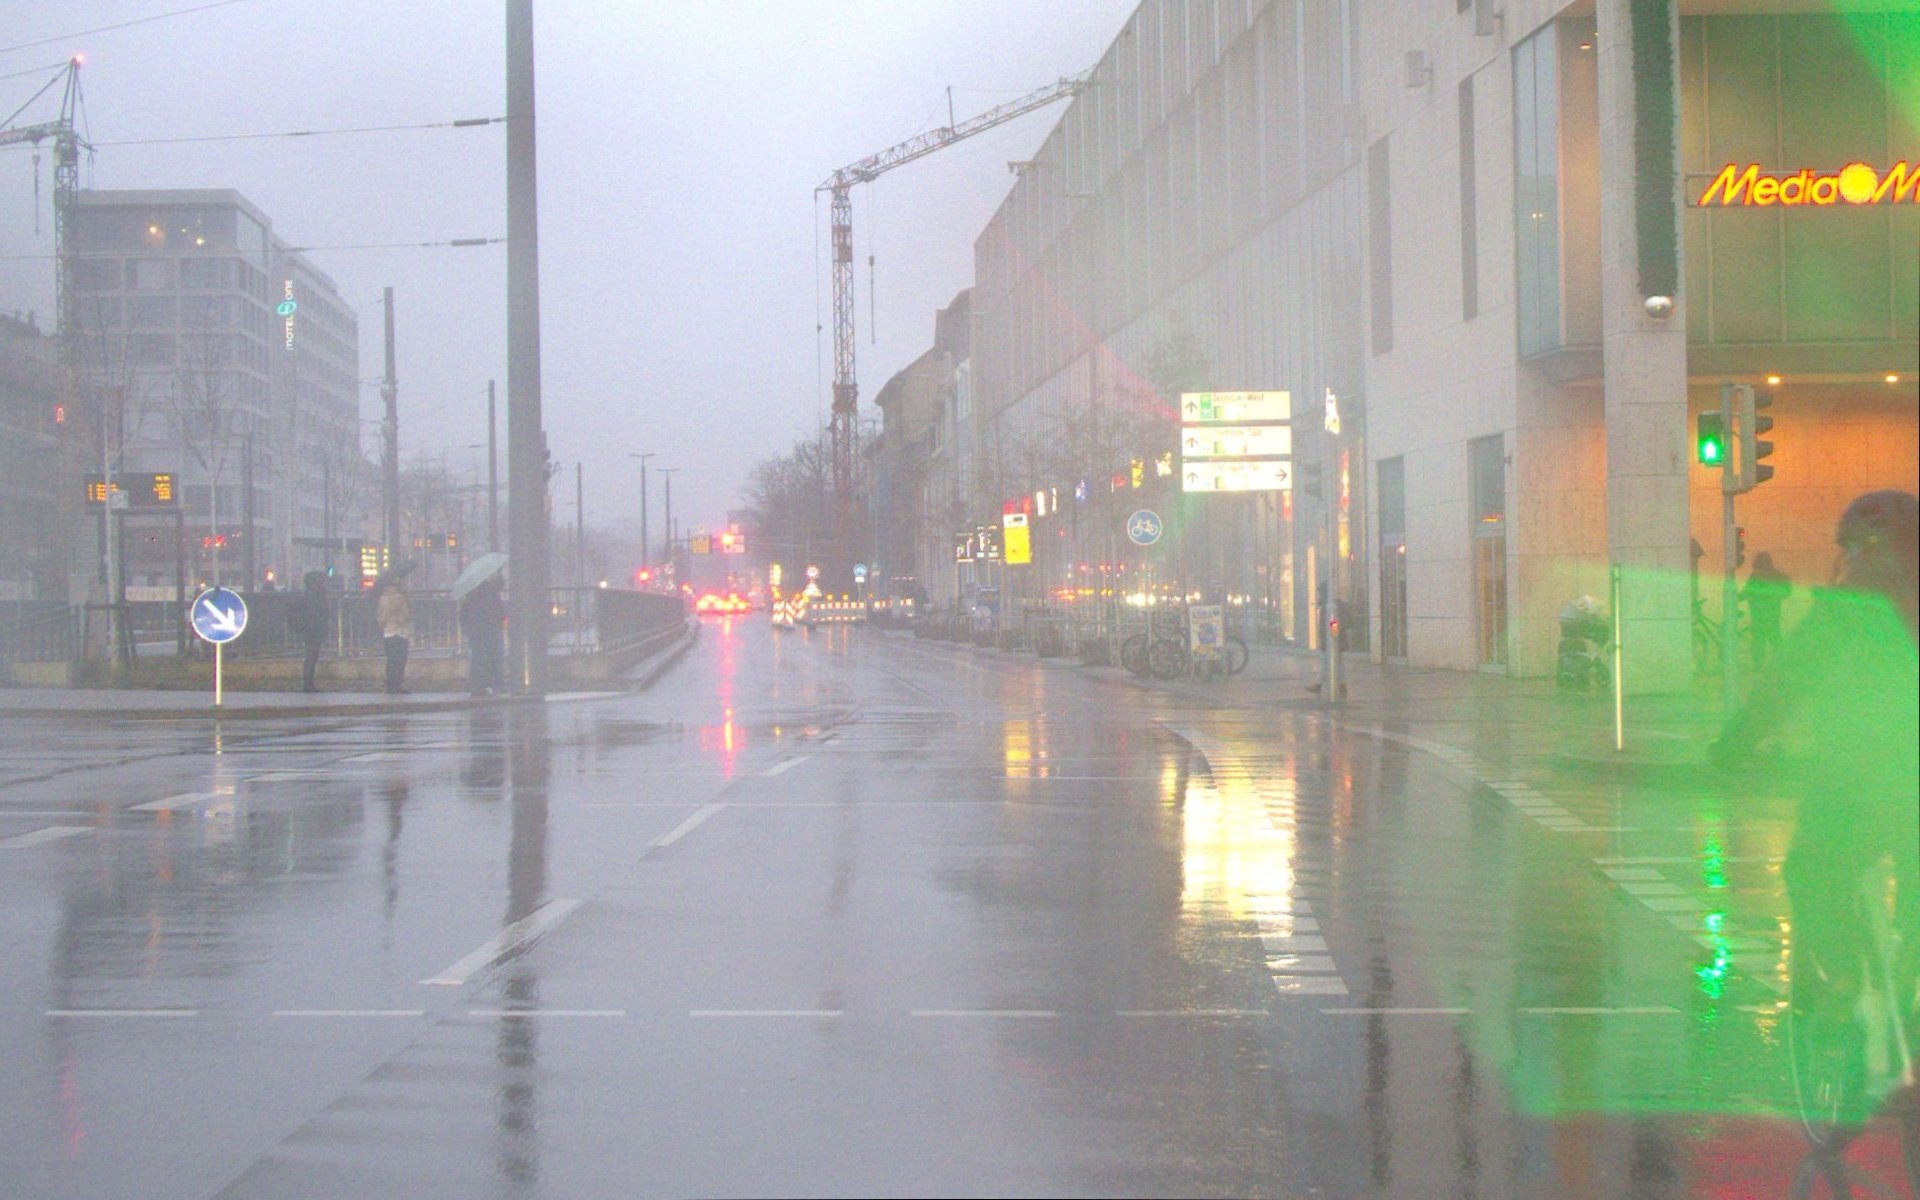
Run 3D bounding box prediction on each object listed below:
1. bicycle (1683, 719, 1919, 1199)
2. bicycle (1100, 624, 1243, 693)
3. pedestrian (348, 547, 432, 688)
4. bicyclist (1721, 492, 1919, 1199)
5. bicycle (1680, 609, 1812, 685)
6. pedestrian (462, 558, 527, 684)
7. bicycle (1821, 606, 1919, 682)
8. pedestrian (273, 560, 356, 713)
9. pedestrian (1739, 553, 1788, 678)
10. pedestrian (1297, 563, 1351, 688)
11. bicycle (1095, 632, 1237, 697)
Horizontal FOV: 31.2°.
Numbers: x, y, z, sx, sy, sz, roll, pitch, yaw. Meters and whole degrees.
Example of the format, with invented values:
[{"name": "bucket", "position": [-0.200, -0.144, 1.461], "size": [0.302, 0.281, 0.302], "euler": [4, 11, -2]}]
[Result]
[{"name": "bicycle", "position": [2.249, 0.869, 8.054], "size": [0.708, 1.090, 1.784], "euler": [0, 1, -1]}, {"name": "bicycle", "position": [3.697, 1.015, 60.184], "size": [2.442, 1.150, 0.674], "euler": [-1, 0, -1]}, {"name": "pedestrian", "position": [-7.458, 0.233, 44.981], "size": [0.821, 1.825, 0.786], "euler": [1, 0, -31]}, {"name": "bicyclist", "position": [2.244, 0.584, 8.013], "size": [0.702, 1.654, 0.964], "euler": [-1, 1, -1]}, {"name": "bicycle", "position": [11.251, 0.673, 49.223], "size": [1.767, 1.066, 0.525], "euler": [1, 0, -9]}, {"name": "pedestrian", "position": [-6.250, 0.280, 46.149], "size": [0.612, 1.680, 0.577], "euler": [1, 0, 41]}, {"name": "bicycle", "position": [13.253, 0.631, 49.351], "size": [1.646, 1.066, 0.525], "euler": [1, 0, -4]}, {"name": "pedestrian", "position": [-8.608, 0.482, 45.852], "size": [0.785, 2.007, 0.726], "euler": [1, 0, 41]}, {"name": "pedestrian", "position": [11.267, 0.216, 48.232], "size": [0.600, 1.739, 0.524], "euler": [1, 0, 7]}, {"name": "pedestrian", "position": [5.026, 0.352, 47.519], "size": [0.636, 1.703, 0.573], "euler": [-1, 0, -1]}, {"name": "bicycle", "position": [3.644, 1.143, 60.951], "size": [2.425, 1.095, 0.712], "euler": [-1, 0, -2]}]
